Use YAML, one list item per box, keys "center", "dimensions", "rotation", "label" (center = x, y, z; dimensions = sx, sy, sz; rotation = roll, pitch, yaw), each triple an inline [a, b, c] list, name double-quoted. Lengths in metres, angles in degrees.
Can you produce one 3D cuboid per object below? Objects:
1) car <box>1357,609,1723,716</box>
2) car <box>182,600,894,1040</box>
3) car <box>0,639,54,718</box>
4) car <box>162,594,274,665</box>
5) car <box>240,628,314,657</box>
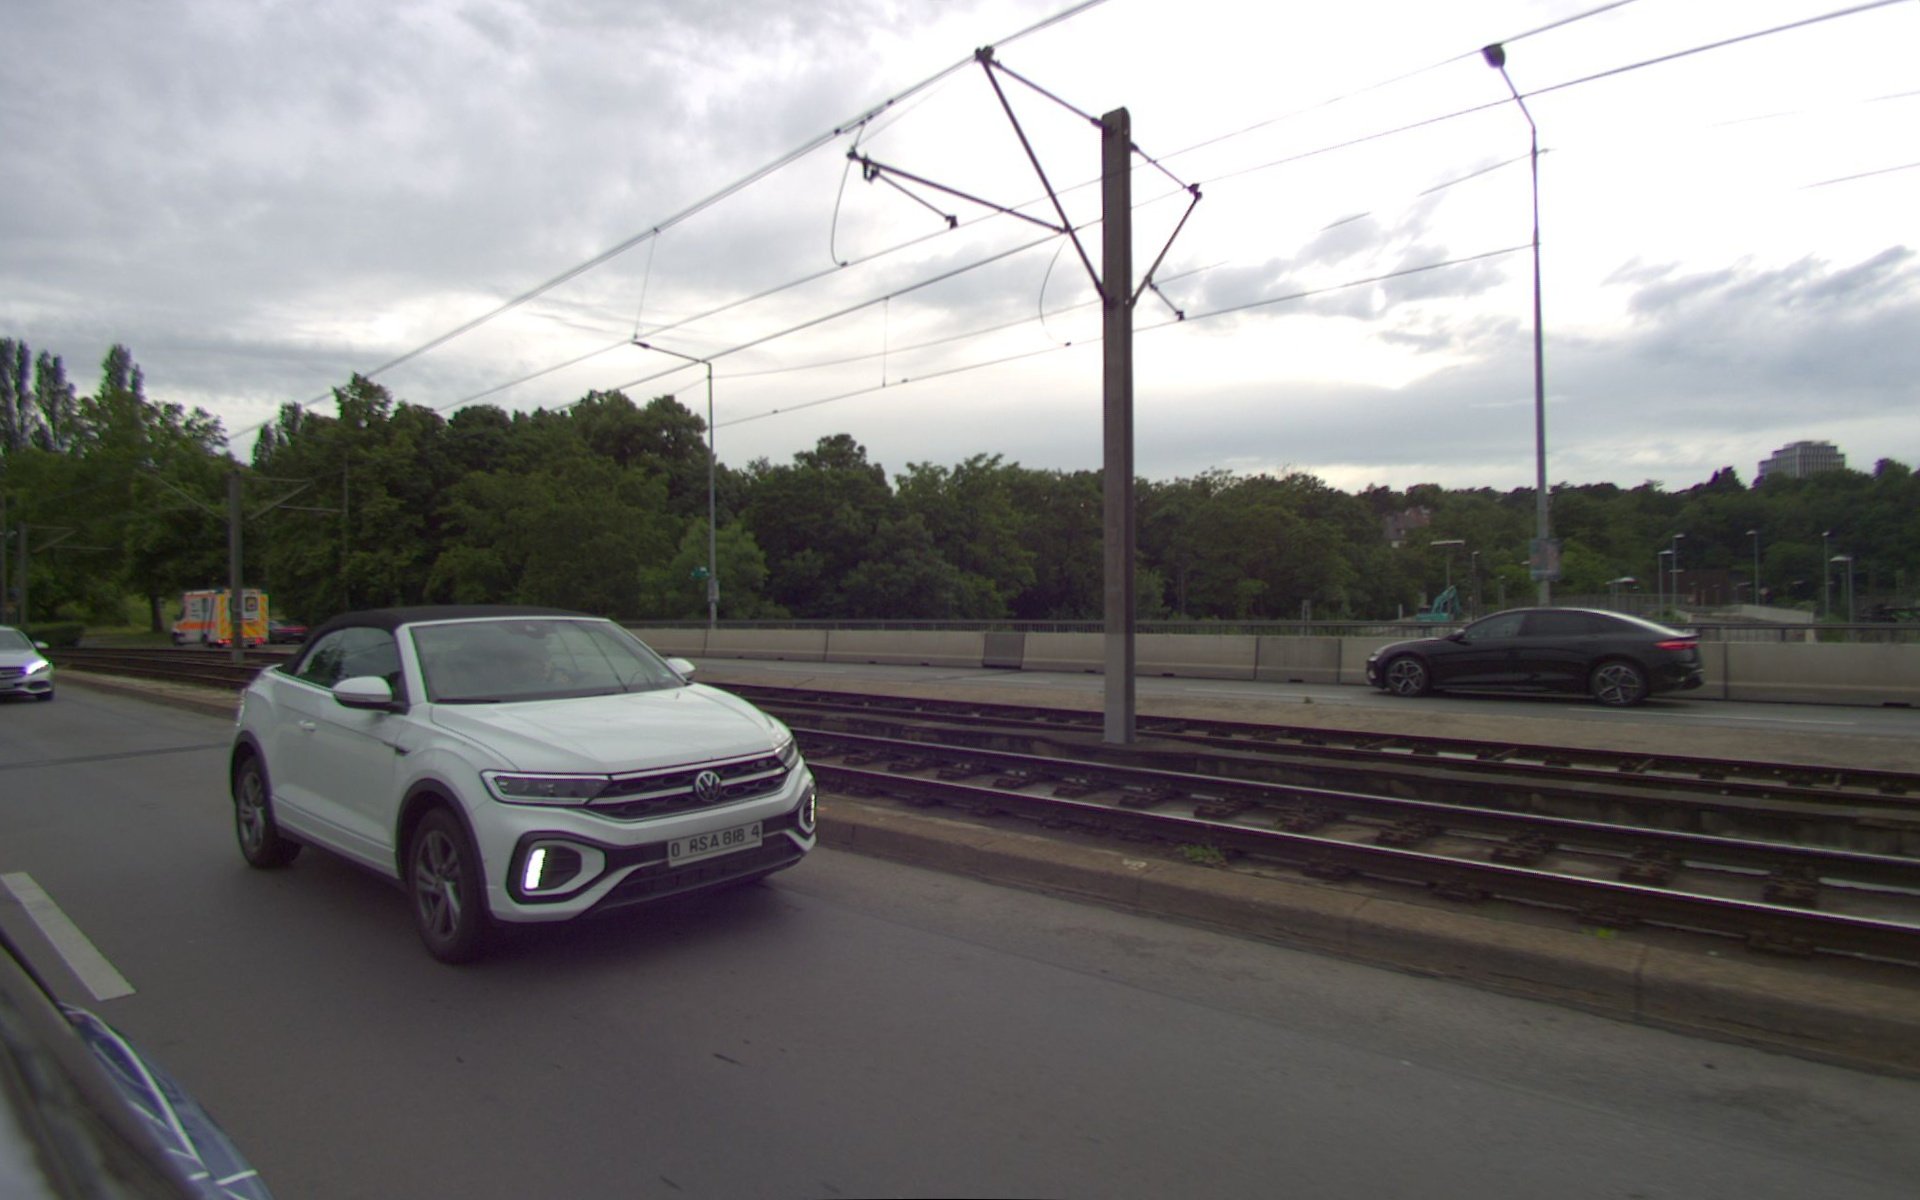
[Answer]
- center: [9.000, 0.921, 15.983]
  dimensions: [4.738, 1.447, 1.797]
  rotation: [-2, -2, 41]
  label: "car"
- center: [-2.669, 0.846, 5.773]
  dimensions: [4.536, 1.535, 1.853]
  rotation: [-2, -1, 40]
  label: "car"
- center: [-18.619, 1.451, 19.076]
  dimensions: [4.058, 1.366, 1.847]
  rotation: [-2, -2, 42]
  label: "car"
- center: [-35.044, 1.379, 47.747]
  dimensions: [6.343, 3.139, 2.369]
  rotation: [-1, 0, 36]
  label: "car"
- center: [-36.259, 2.268, 53.709]
  dimensions: [4.610, 1.324, 1.820]
  rotation: [-3, 0, 37]
  label: "car"
